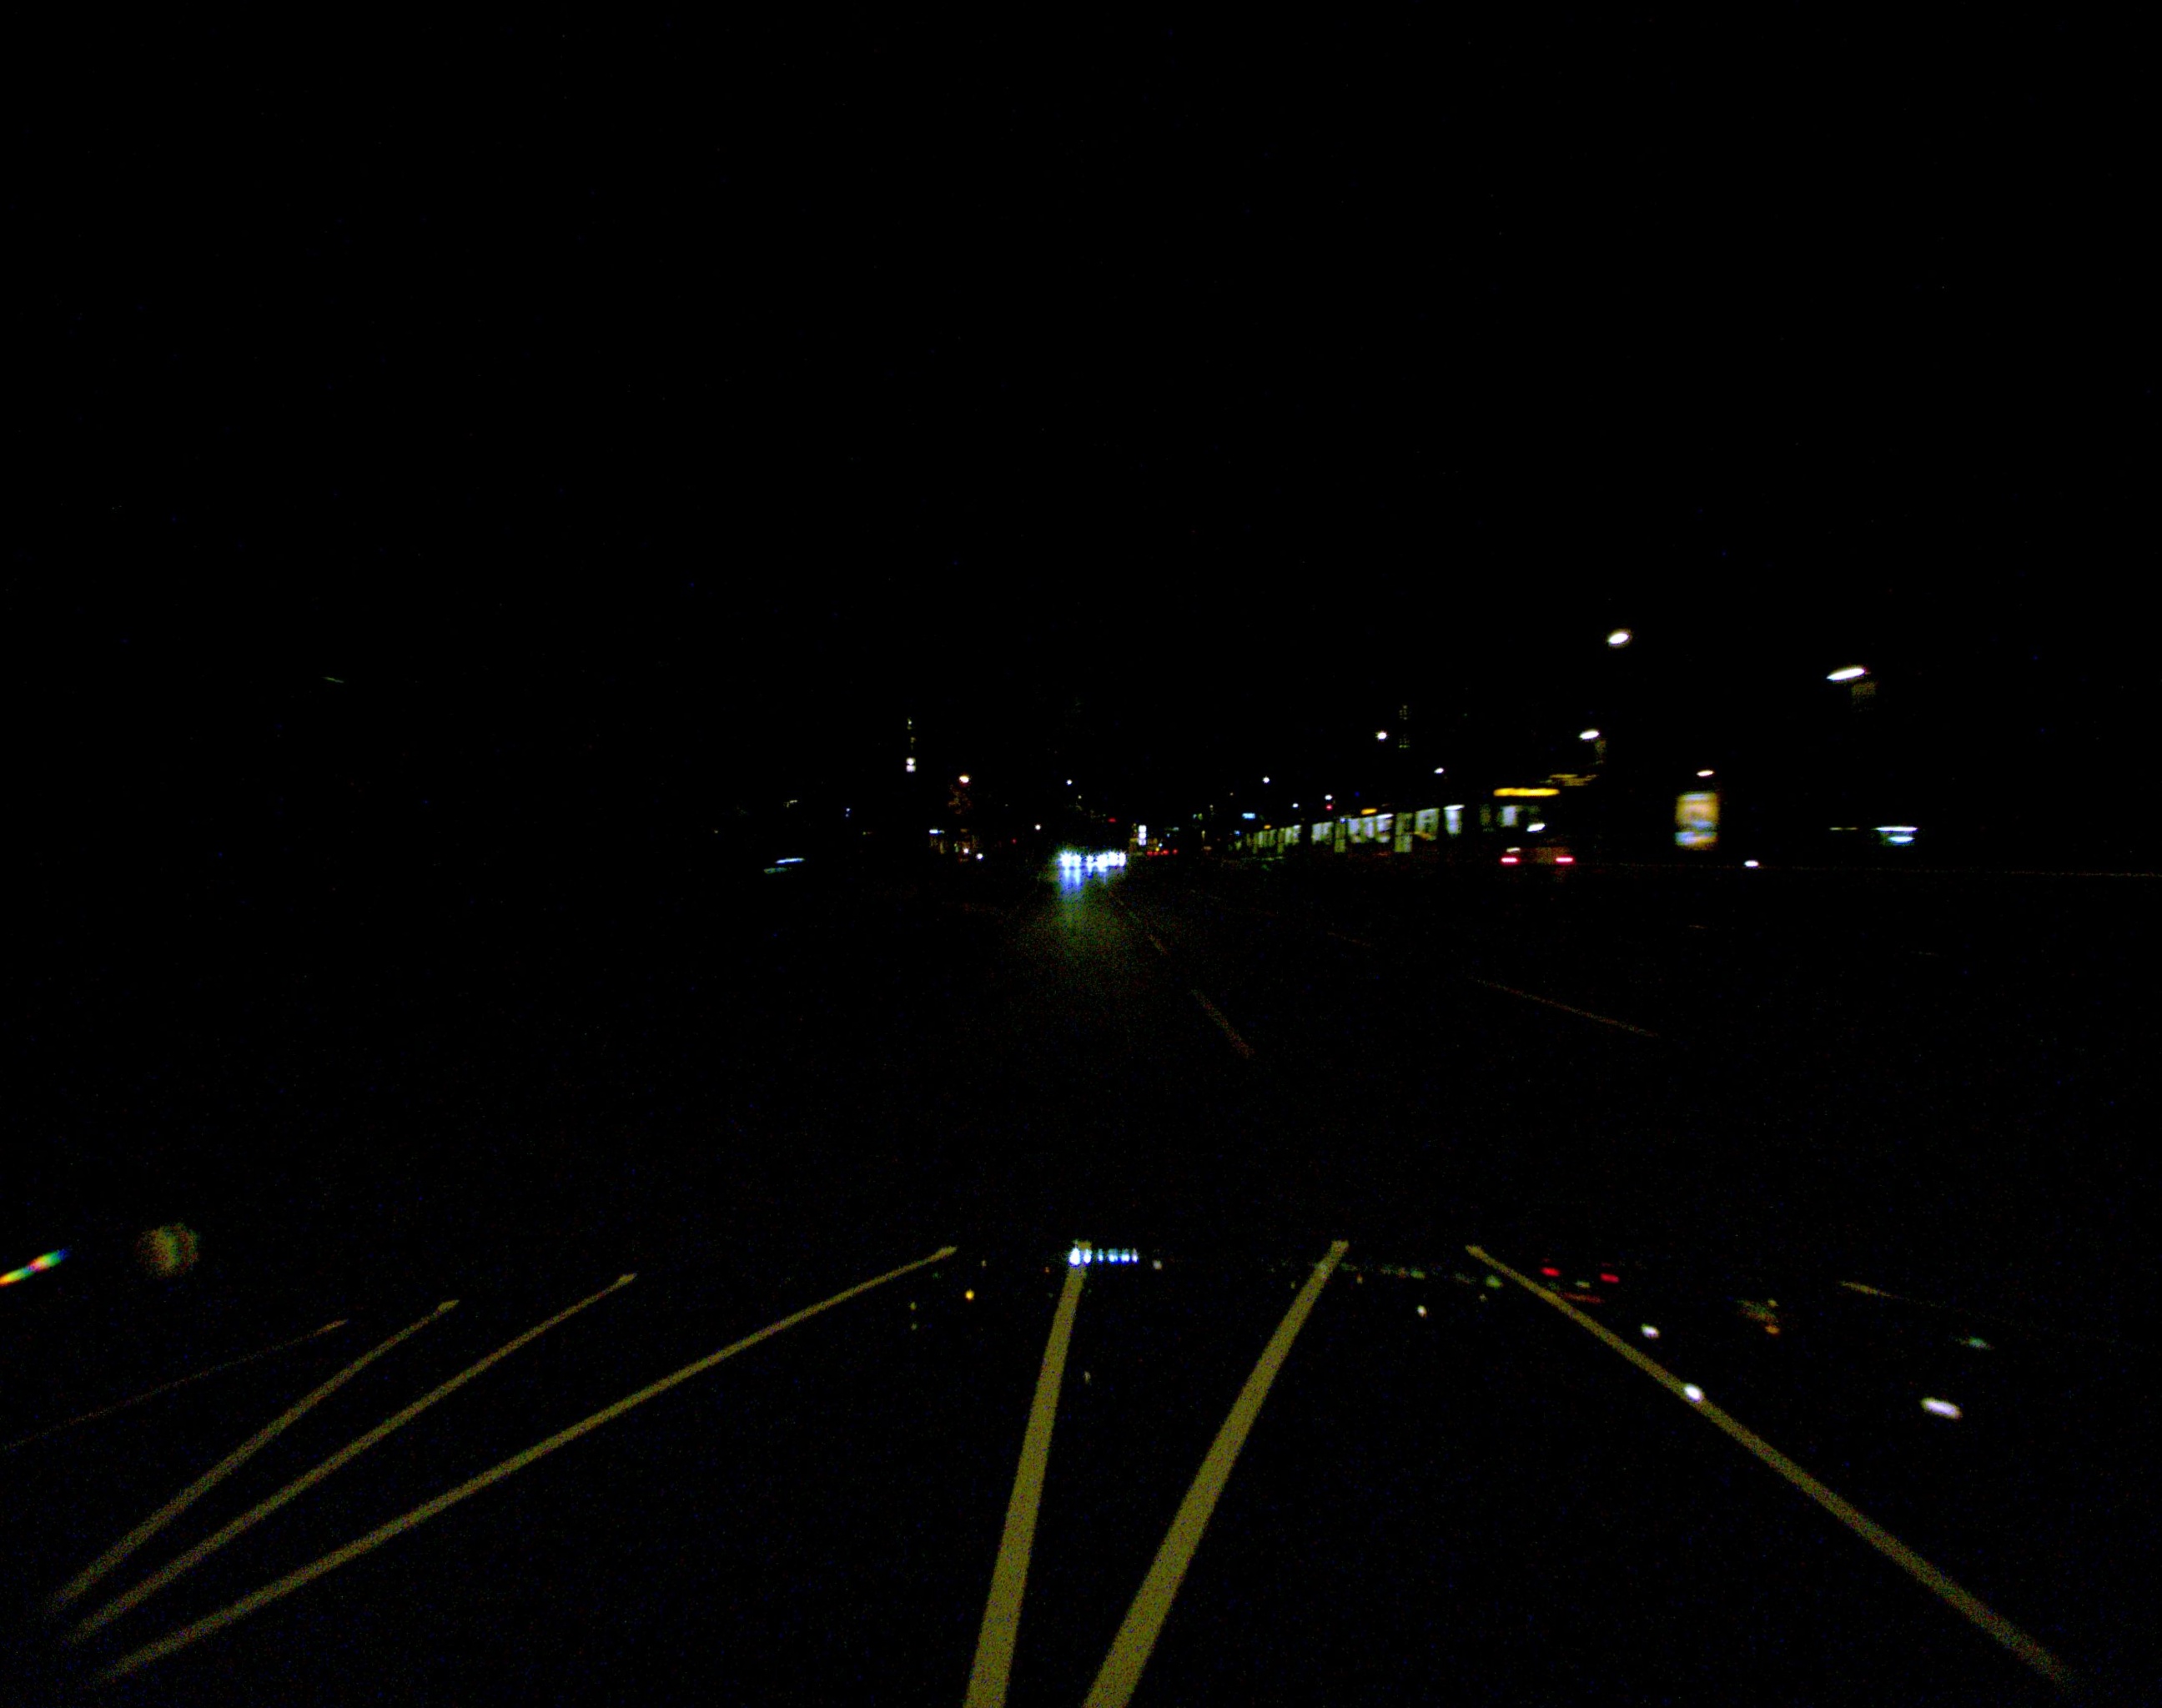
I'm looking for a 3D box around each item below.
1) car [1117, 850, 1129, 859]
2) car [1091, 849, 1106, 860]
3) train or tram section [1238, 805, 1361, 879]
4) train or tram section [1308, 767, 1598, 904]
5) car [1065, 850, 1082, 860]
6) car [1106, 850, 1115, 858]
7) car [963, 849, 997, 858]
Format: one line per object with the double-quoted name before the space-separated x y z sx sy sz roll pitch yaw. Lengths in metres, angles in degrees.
"car" 7.558 0.046 136.257 1.908 1.609 3.718 -1 1 1
"car" 2.525 0.084 107.406 1.858 1.482 3.560 -1 0 6
"train or tram section" 13.553 -0.691 49.896 2.745 3.824 19.362 -1 0 1
"train or tram section" 13.318 -0.573 30.856 2.765 3.805 18.669 -1 0 1
"car" -1.091 0.124 107.622 1.947 1.299 3.907 1 0 6
"car" 6.539 0.018 165.998 1.827 1.696 4.000 -1 1 4
"car" -12.573 -0.056 94.739 4.009 1.028 1.480 1 -1 -41
